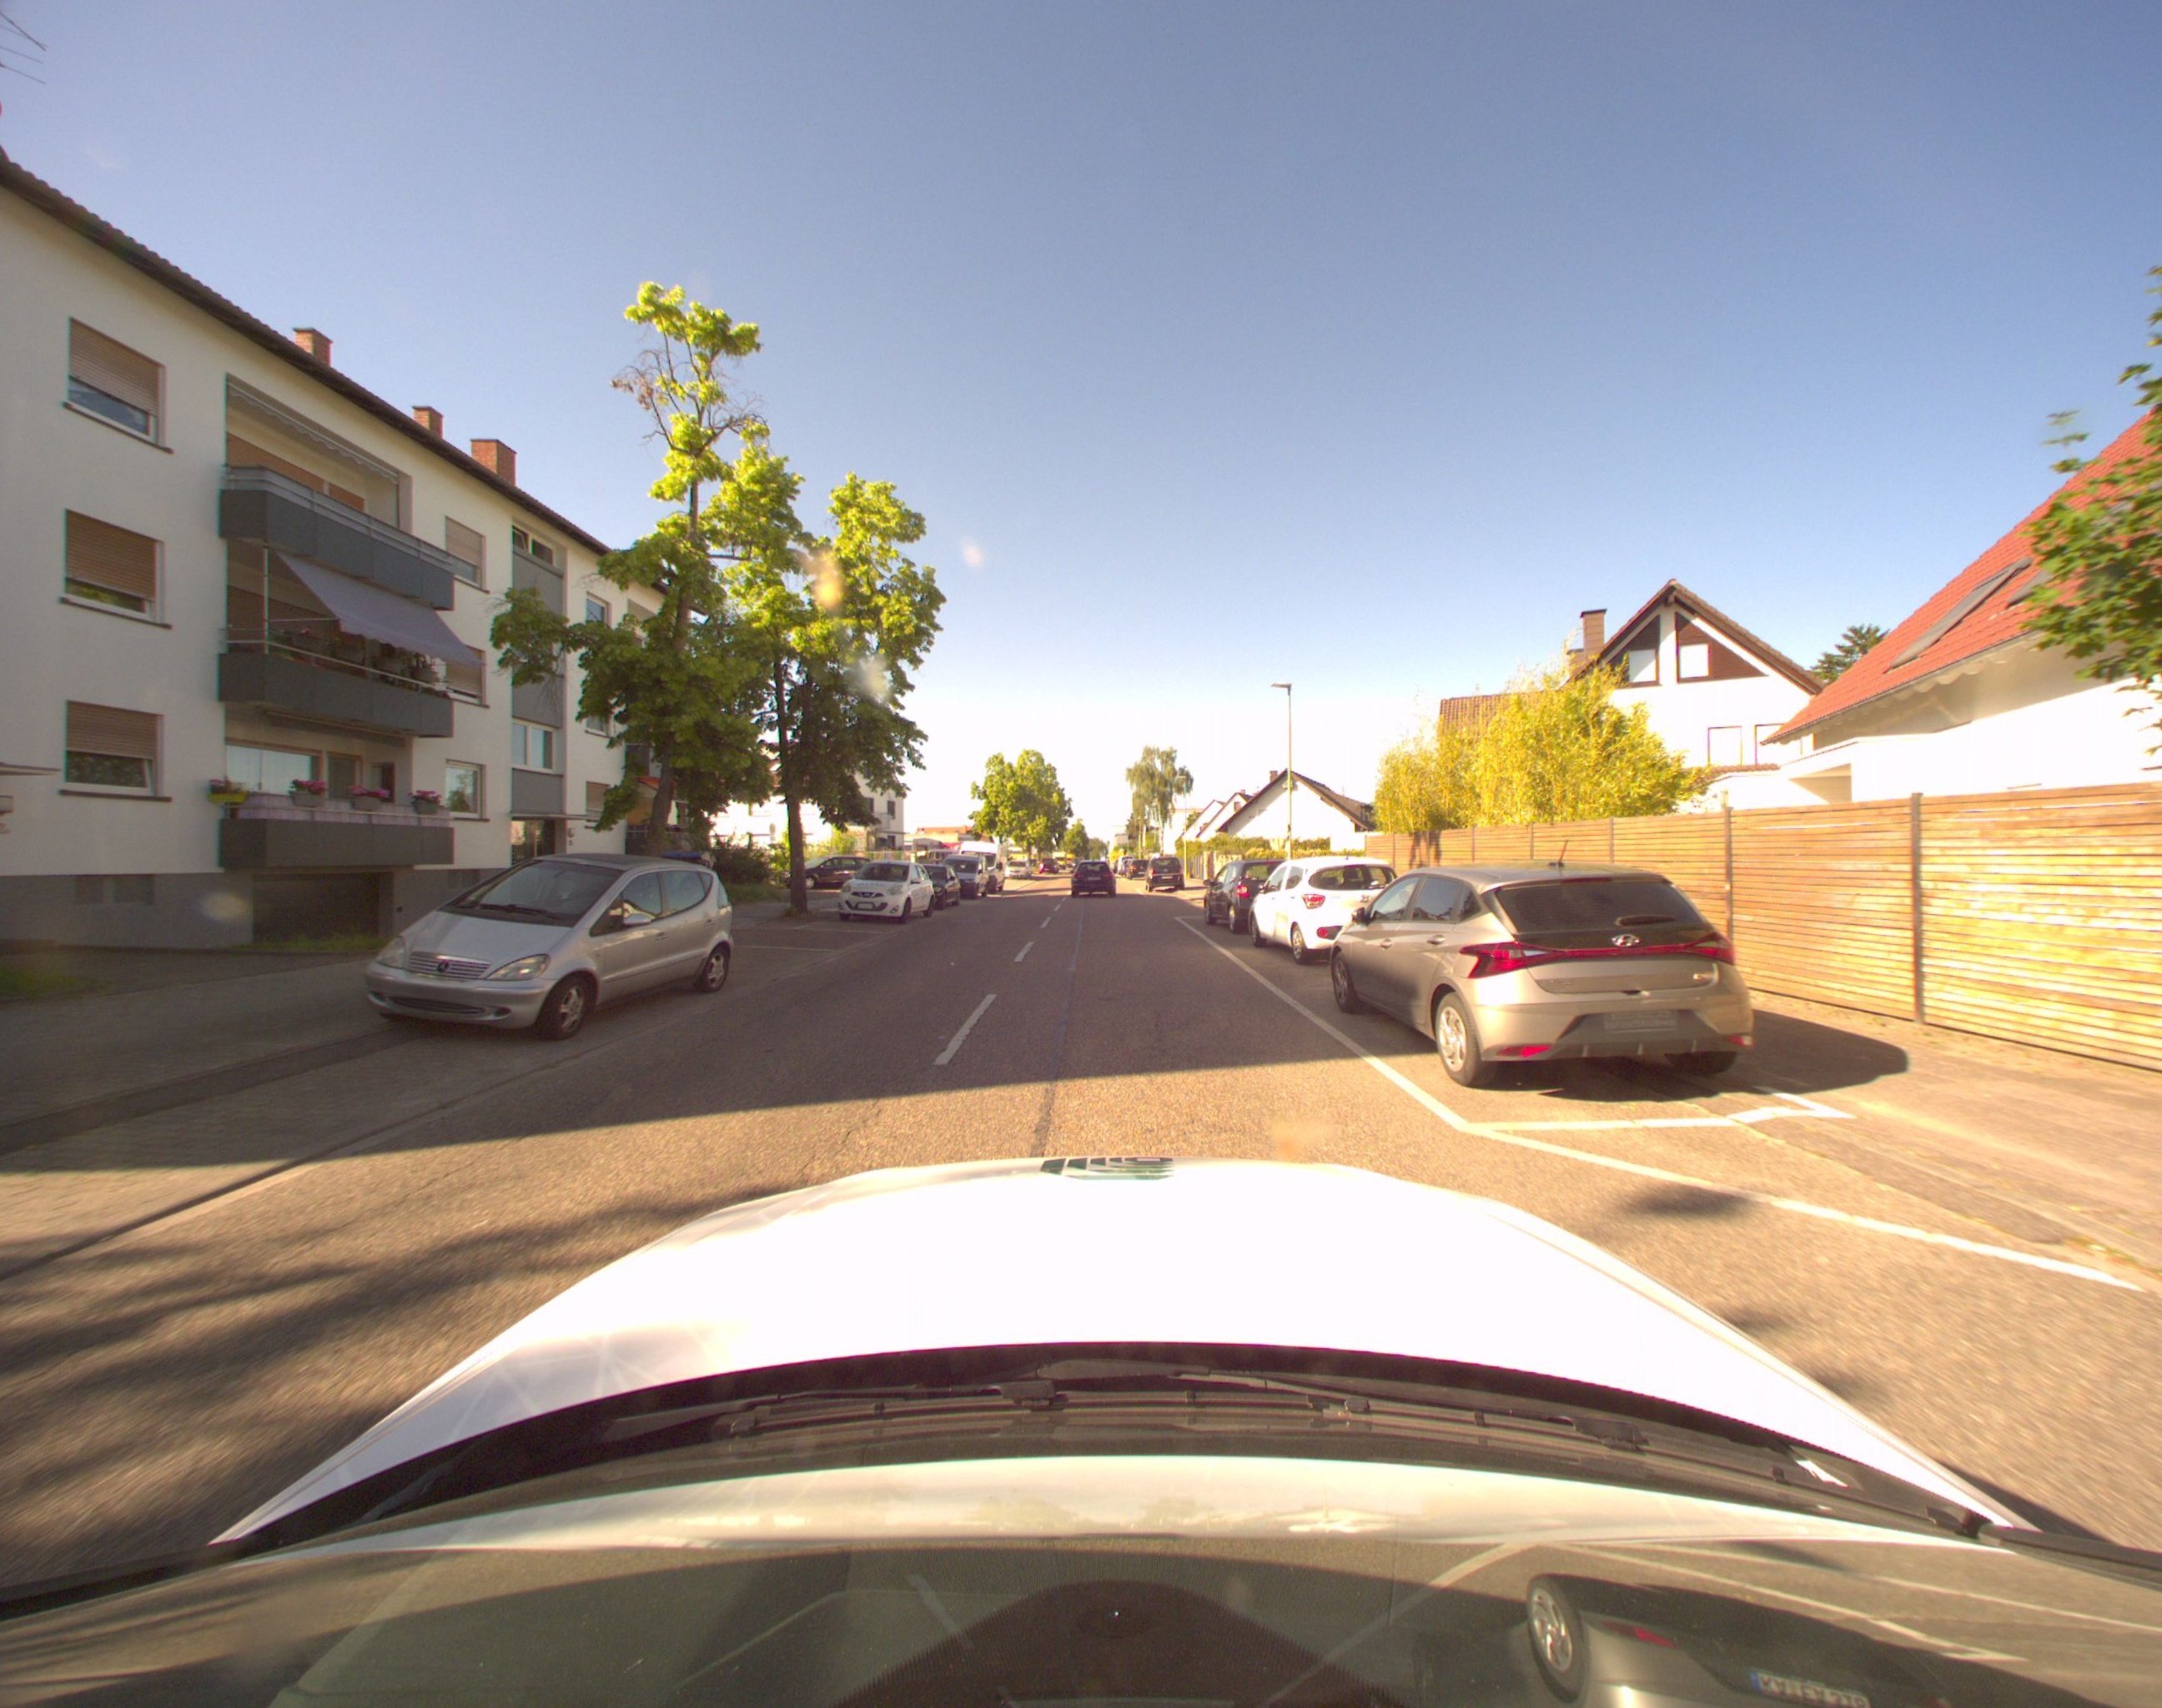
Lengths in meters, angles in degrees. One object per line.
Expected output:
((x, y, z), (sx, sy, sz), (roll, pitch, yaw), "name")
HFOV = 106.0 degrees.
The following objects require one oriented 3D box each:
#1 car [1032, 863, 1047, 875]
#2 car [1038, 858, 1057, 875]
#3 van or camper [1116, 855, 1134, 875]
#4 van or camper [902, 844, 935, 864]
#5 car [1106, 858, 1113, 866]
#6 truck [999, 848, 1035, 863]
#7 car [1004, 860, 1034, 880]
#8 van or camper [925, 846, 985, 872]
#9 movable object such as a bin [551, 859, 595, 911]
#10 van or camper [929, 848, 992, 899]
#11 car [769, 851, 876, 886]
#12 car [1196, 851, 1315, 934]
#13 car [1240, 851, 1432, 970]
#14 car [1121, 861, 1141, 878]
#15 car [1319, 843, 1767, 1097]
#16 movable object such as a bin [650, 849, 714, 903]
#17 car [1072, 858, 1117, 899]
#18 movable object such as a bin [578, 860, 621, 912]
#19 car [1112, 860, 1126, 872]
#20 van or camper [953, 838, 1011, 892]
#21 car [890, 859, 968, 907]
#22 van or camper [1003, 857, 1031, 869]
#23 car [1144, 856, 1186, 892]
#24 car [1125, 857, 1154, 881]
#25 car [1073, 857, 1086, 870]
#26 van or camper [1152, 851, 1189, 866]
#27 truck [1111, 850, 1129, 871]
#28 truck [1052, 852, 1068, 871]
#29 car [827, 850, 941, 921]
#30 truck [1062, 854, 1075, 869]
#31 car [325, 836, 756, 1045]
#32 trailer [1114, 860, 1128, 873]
((-5.749, 2.051, 113.114), (1.855, 1.590, 4.275), (0, -3, 0), "car")
((-3.660, 1.345, 89.244), (1.797, 1.752, 4.342), (2, -1, 1), "car")
((4.254, 1.042, 79.167), (1.712, 1.891, 4.180), (0, -1, 1), "van or camper")
((-22.465, 0.034, 113.055), (2.150, 2.715, 6.289), (0, -1, 12), "van or camper")
((7.163, 2.047, 205.500), (1.912, 1.825, 4.080), (0, -1, 1), "car")
((-11.226, 0.291, 143.781), (5.882, 2.568, 2.231), (1, -1, 12), "truck")
((-4.710, 1.185, 62.177), (1.680, 1.435, 4.212), (2, 0, 3), "car")
((-11.492, 0.473, 74.541), (4.858, 2.320, 2.252), (0, -1, 13), "van or camper")
((-12.595, 0.760, 20.203), (0.636, 1.279, 0.672), (0, -1, 3), "movable object such as a bin")
((-5.023, 0.793, 34.452), (1.871, 2.014, 4.280), (0, 0, 2), "van or camper")
((-11.623, 0.633, 36.850), (1.594, 1.514, 4.415), (0, -1, 41), "car")
((3.677, 0.763, 17.797), (1.652, 1.601, 3.812), (0, 0, -3), "car")
((3.809, 0.772, 12.870), (1.720, 1.601, 3.812), (0, 0, -3), "car")
((4.438, 1.380, 72.886), (1.712, 1.505, 3.564), (0, -1, 1), "car")
((3.305, 0.702, 6.781), (1.635, 1.494, 3.891), (-1, 0, 2), "car")
((-11.298, 0.610, 23.111), (1.226, 1.482, 1.117), (0, -1, 3), "movable object such as a bin")
((0.594, 0.955, 33.130), (1.705, 1.532, 3.689), (-1, 0, 2), "car")
((-11.928, 0.780, 20.190), (0.636, 1.279, 0.672), (0, -1, 3), "movable object such as a bin")
((4.959, 1.586, 106.130), (1.666, 1.542, 4.048), (0, 0, 5), "car")
((-4.864, 0.532, 40.748), (2.115, 2.490, 5.555), (1, 0, 0), "van or camper")
((-4.995, 0.909, 27.282), (1.603, 1.435, 4.315), (2, 0, 2), "car")
((-10.978, 1.576, 140.186), (4.518, 2.014, 2.255), (0, -1, 7), "van or camper")
((4.022, 0.951, 39.679), (1.769, 1.659, 4.306), (0, 0, 2), "car")
((4.180, 1.061, 59.009), (1.770, 1.659, 3.814), (0, 0, -1), "car")
((-0.250, 1.552, 131.800), (1.887, 2.031, 4.819), (-2, -1, 1), "car")
((15.084, 0.780, 137.269), (5.843, 2.541, 2.270), (0, -1, -26), "van or camper")
((5.920, 1.028, 125.372), (2.394, 2.937, 7.016), (-2, -1, 1), "truck")
((-3.497, 1.253, 135.386), (2.395, 2.983, 7.243), (2, -1, 0), "truck")
((-4.947, 0.753, 21.034), (1.685, 1.566, 3.910), (3, 0, 4), "car")
((-2.503, 1.514, 167.093), (2.394, 2.983, 6.375), (2, -1, 1), "truck")
((-5.299, 0.738, 8.752), (1.715, 1.593, 3.912), (5, 0, 3), "car")
((4.958, 1.541, 101.230), (1.621, 1.538, 3.199), (0, -1, 2), "trailer")
